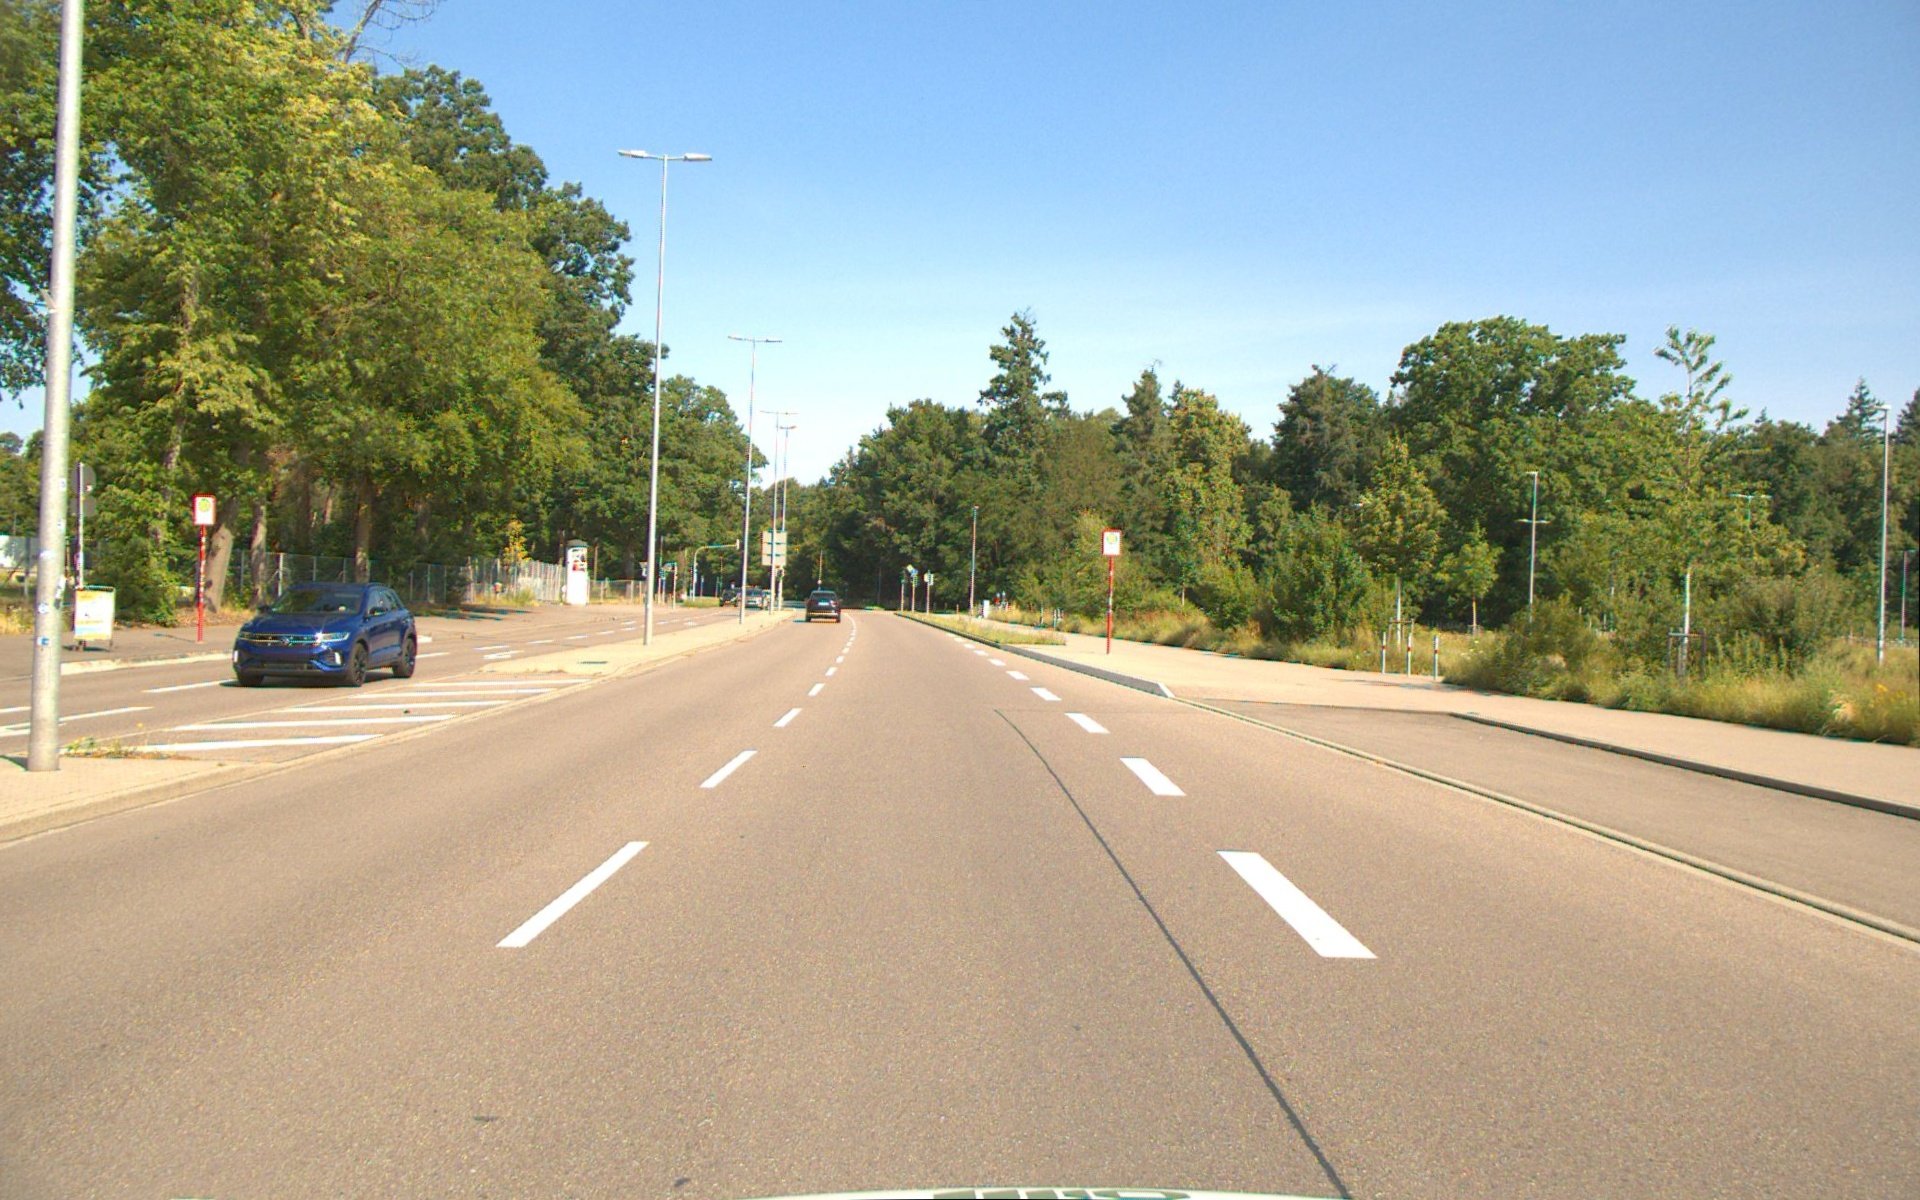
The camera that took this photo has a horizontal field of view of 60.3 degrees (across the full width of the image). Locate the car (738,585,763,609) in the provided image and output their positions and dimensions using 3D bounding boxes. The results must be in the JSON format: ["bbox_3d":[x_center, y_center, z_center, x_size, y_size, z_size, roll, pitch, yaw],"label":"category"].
[{"bbox_3d":[-17.733,-0.272,140.205,1.805,1.966,4.625,1,0,-4],"label":"car"}]

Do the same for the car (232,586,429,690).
[{"bbox_3d":[-9.813,0.551,26.110,1.718,1.512,3.946,0,0,-2],"label":"car"}]

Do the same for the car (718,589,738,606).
[{"bbox_3d":[-22.837,-0.243,162.848,1.760,1.504,3.994,2,0,-6],"label":"car"}]

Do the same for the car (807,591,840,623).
[{"bbox_3d":[-7.044,0.343,85.215,1.655,1.571,4.144,1,0,-5],"label":"car"}]

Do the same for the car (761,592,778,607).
[{"bbox_3d":[-21.930,-0.060,190.465,1.810,1.646,3.995,3,0,-6],"label":"car"}]
